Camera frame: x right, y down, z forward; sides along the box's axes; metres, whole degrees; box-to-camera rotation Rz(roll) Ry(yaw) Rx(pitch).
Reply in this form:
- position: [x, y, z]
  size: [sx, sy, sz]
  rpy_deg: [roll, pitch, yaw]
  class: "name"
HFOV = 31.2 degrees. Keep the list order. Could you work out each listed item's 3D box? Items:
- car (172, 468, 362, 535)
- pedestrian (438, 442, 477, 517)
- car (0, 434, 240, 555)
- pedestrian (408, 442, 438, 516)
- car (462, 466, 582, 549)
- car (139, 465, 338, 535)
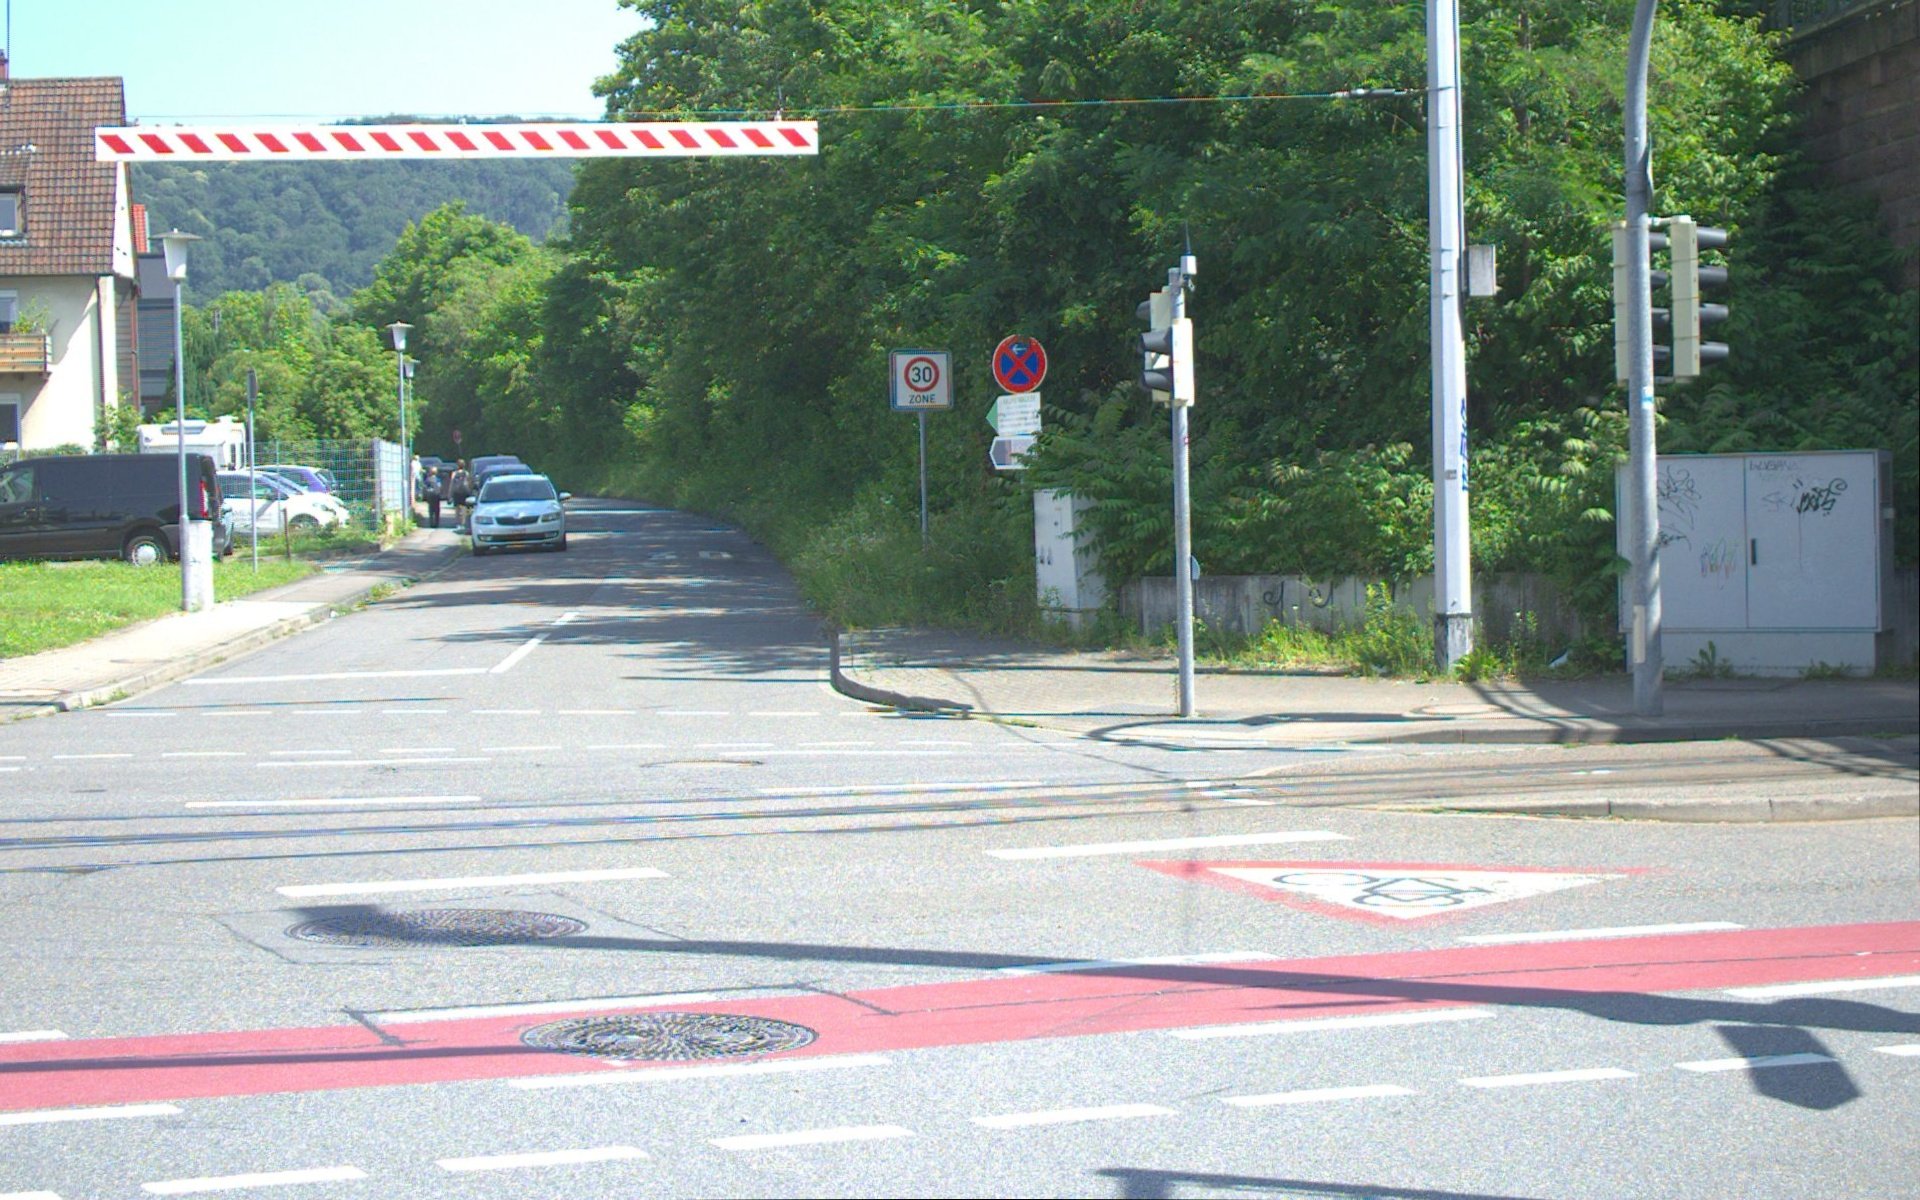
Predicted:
- position: [-14.509, -2.068, 72.122]
  size: [3.720, 1.367, 1.605]
  rpy_deg: [0, 1, -3]
  class: "car"
- position: [-11.984, -2.868, 81.949]
  size: [0.876, 1.756, 0.731]
  rpy_deg: [0, 1, -5]
  class: "pedestrian"
- position: [-14.398, -1.672, 55.330]
  size: [5.247, 1.810, 2.001]
  rpy_deg: [-2, 2, -6]
  class: "car"
- position: [-12.802, -2.878, 81.939]
  size: [0.653, 1.756, 0.804]
  rpy_deg: [0, 1, -5]
  class: "pedestrian"
- position: [-8.428, -1.820, 66.484]
  size: [2.086, 1.505, 4.541]
  rpy_deg: [0, 3, -5]
  class: "car"
- position: [-14.560, -2.010, 69.505]
  size: [3.720, 1.367, 1.605]
  rpy_deg: [0, 1, -3]
  class: "car"
